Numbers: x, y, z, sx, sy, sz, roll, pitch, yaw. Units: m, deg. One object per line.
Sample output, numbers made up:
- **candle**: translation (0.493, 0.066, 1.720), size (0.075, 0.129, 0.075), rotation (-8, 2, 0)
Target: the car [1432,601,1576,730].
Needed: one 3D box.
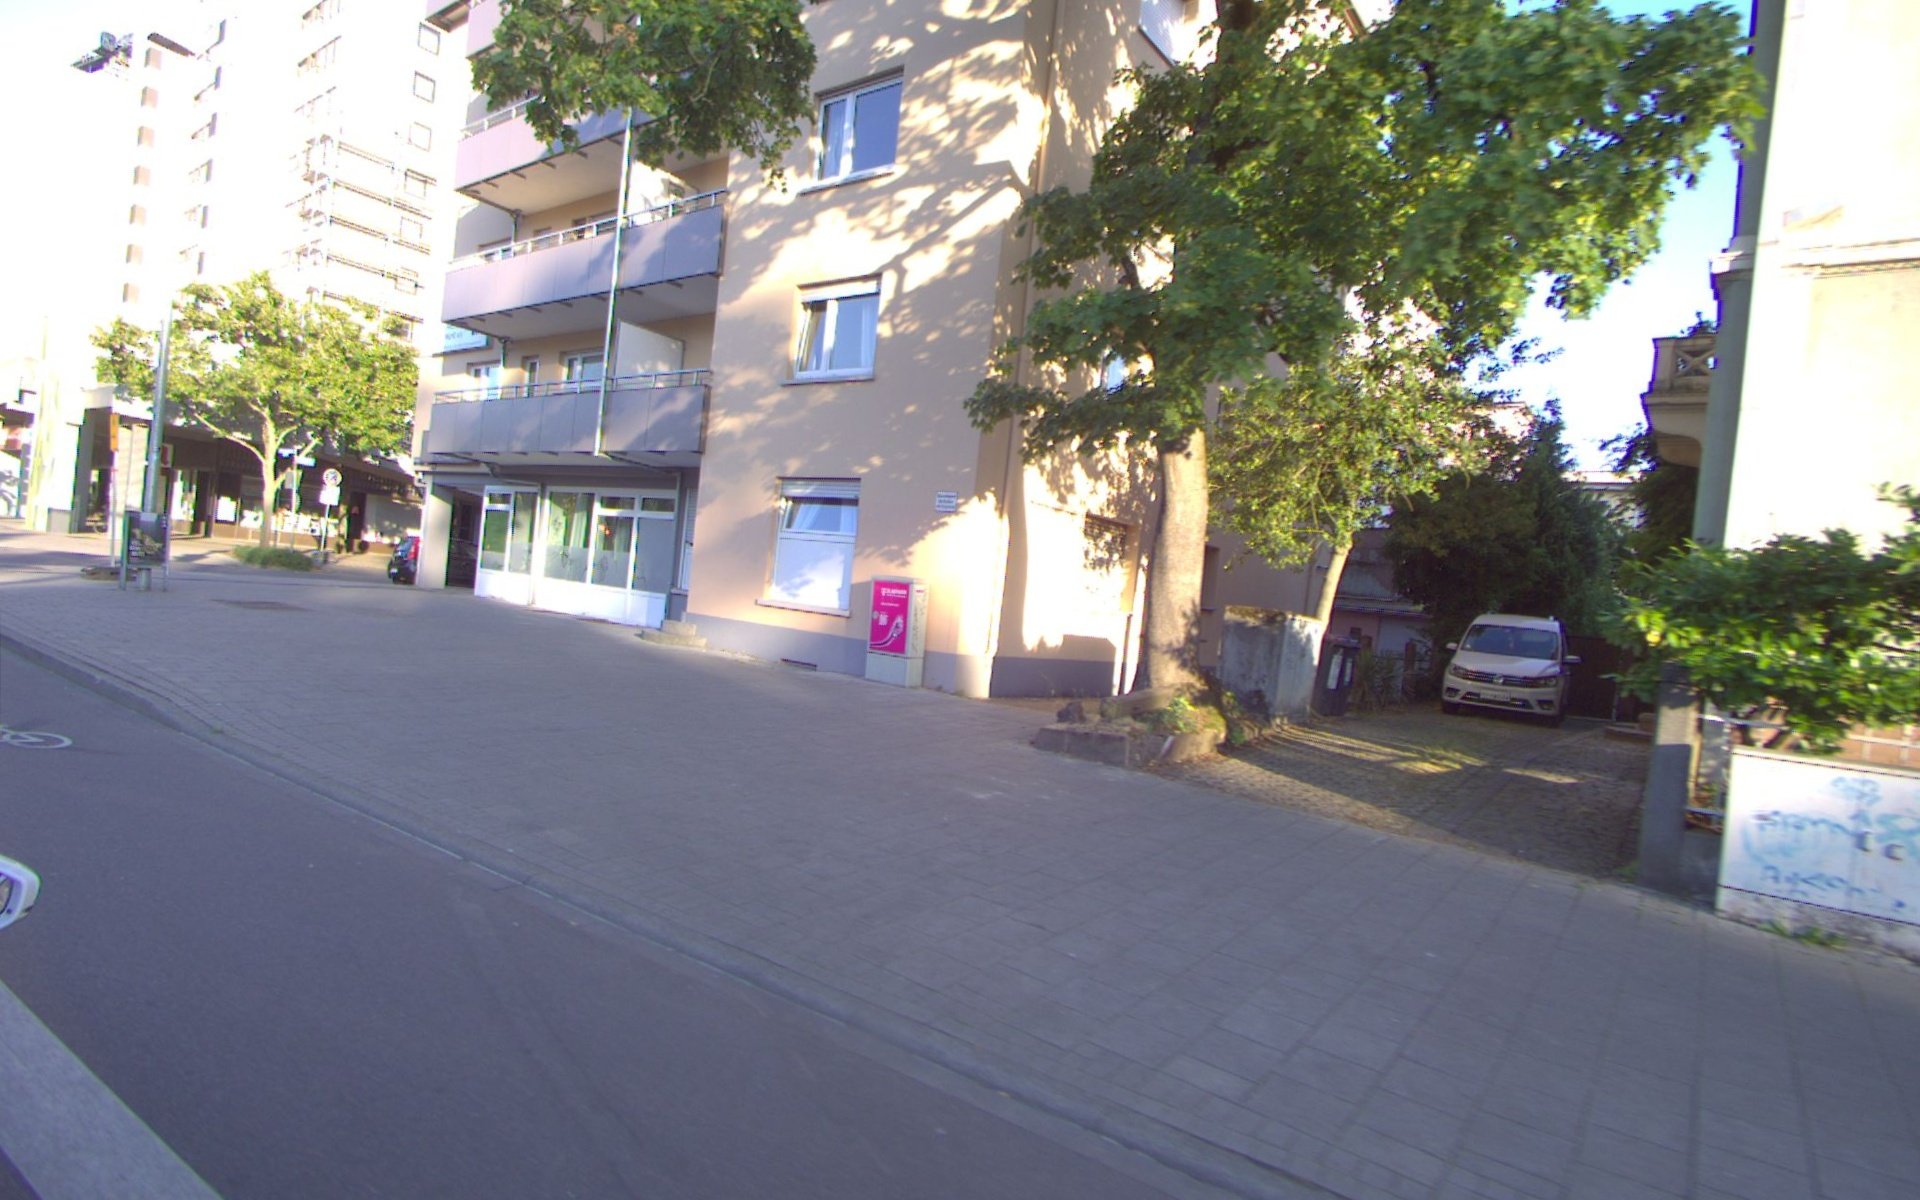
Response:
- **car**: translation (9.683, 1.085, 17.755), size (1.795, 1.780, 4.509), rotation (8, 2, 31)

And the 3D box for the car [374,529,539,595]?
- **car**: translation (-14.996, -1.094, 30.107), size (1.682, 1.605, 4.032), rotation (3, -1, 40)

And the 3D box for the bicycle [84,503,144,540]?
- **bicycle**: translation (-32.550, -3.011, 38.721), size (1.985, 1.162, 0.691), rotation (7, -2, 18)
